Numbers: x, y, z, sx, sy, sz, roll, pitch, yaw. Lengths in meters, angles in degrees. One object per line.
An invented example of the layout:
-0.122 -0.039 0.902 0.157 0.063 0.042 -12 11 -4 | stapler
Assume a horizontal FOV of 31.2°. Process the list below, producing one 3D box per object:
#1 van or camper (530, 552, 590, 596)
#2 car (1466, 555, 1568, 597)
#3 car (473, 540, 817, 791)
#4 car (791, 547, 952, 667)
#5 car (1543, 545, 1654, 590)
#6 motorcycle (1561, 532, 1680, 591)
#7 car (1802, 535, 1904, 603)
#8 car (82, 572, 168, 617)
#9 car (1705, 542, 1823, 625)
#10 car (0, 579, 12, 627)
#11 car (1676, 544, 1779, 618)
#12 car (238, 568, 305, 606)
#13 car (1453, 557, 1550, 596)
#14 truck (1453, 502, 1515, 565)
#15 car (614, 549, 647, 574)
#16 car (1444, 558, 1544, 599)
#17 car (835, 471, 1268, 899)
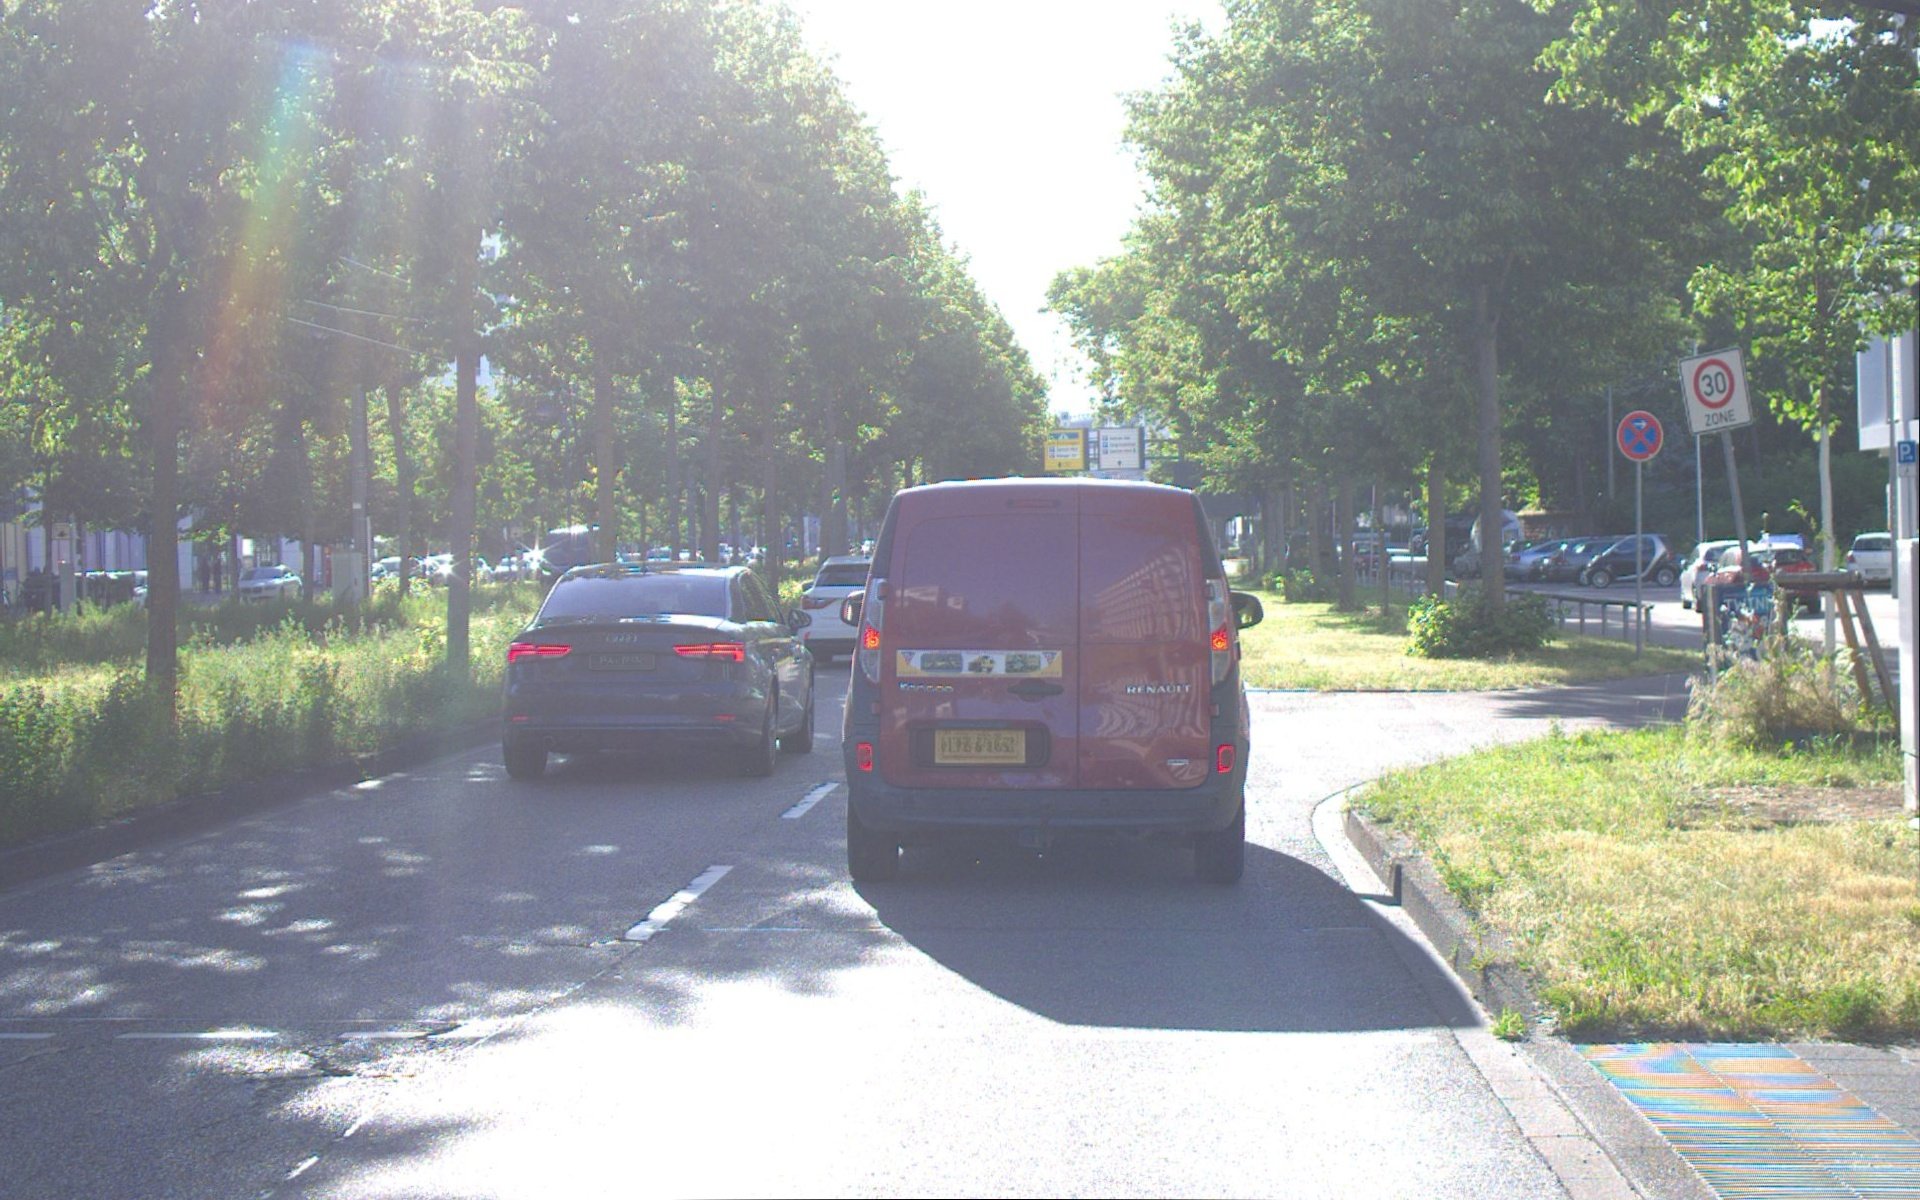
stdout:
-16.180 -1.053 139.169 1.820 1.732 3.712 -1 1 3 | van or camper
19.119 -0.825 117.970 3.400 1.354 1.470 -1 1 10 | car
-2.043 0.373 23.418 1.808 1.522 4.113 -1 1 2 | car
-1.092 0.051 44.339 1.808 1.430 4.113 -1 1 2 | car
20.202 -1.025 108.855 3.400 1.354 1.470 -1 1 10 | car
19.446 -1.128 101.272 3.400 1.657 1.470 -1 1 10 | motorcycle
24.279 -0.852 93.575 1.994 1.809 3.999 0 1 4 | car
-25.915 -0.189 106.777 1.580 1.337 3.712 -1 1 3 | car
16.324 -0.360 69.971 1.758 1.606 3.903 -1 1 4 | car
-27.439 0.113 94.514 1.580 1.337 3.712 -1 1 3 | car
16.686 -0.433 74.875 1.820 1.527 3.436 -1 1 6 | car
-25.537 -0.509 127.540 1.580 1.337 3.712 -1 1 3 | car
19.384 -0.842 123.057 3.400 1.354 1.470 -1 1 10 | car
21.410 -2.701 140.638 1.832 2.492 5.932 -1 1 2 | truck
-21.480 -2.528 224.048 1.602 1.551 4.000 -1 1 3 | car
18.768 -0.750 120.787 3.400 1.354 1.470 -1 1 10 | car
0.377 0.325 16.430 1.808 1.788 4.113 0 1 0 | car
